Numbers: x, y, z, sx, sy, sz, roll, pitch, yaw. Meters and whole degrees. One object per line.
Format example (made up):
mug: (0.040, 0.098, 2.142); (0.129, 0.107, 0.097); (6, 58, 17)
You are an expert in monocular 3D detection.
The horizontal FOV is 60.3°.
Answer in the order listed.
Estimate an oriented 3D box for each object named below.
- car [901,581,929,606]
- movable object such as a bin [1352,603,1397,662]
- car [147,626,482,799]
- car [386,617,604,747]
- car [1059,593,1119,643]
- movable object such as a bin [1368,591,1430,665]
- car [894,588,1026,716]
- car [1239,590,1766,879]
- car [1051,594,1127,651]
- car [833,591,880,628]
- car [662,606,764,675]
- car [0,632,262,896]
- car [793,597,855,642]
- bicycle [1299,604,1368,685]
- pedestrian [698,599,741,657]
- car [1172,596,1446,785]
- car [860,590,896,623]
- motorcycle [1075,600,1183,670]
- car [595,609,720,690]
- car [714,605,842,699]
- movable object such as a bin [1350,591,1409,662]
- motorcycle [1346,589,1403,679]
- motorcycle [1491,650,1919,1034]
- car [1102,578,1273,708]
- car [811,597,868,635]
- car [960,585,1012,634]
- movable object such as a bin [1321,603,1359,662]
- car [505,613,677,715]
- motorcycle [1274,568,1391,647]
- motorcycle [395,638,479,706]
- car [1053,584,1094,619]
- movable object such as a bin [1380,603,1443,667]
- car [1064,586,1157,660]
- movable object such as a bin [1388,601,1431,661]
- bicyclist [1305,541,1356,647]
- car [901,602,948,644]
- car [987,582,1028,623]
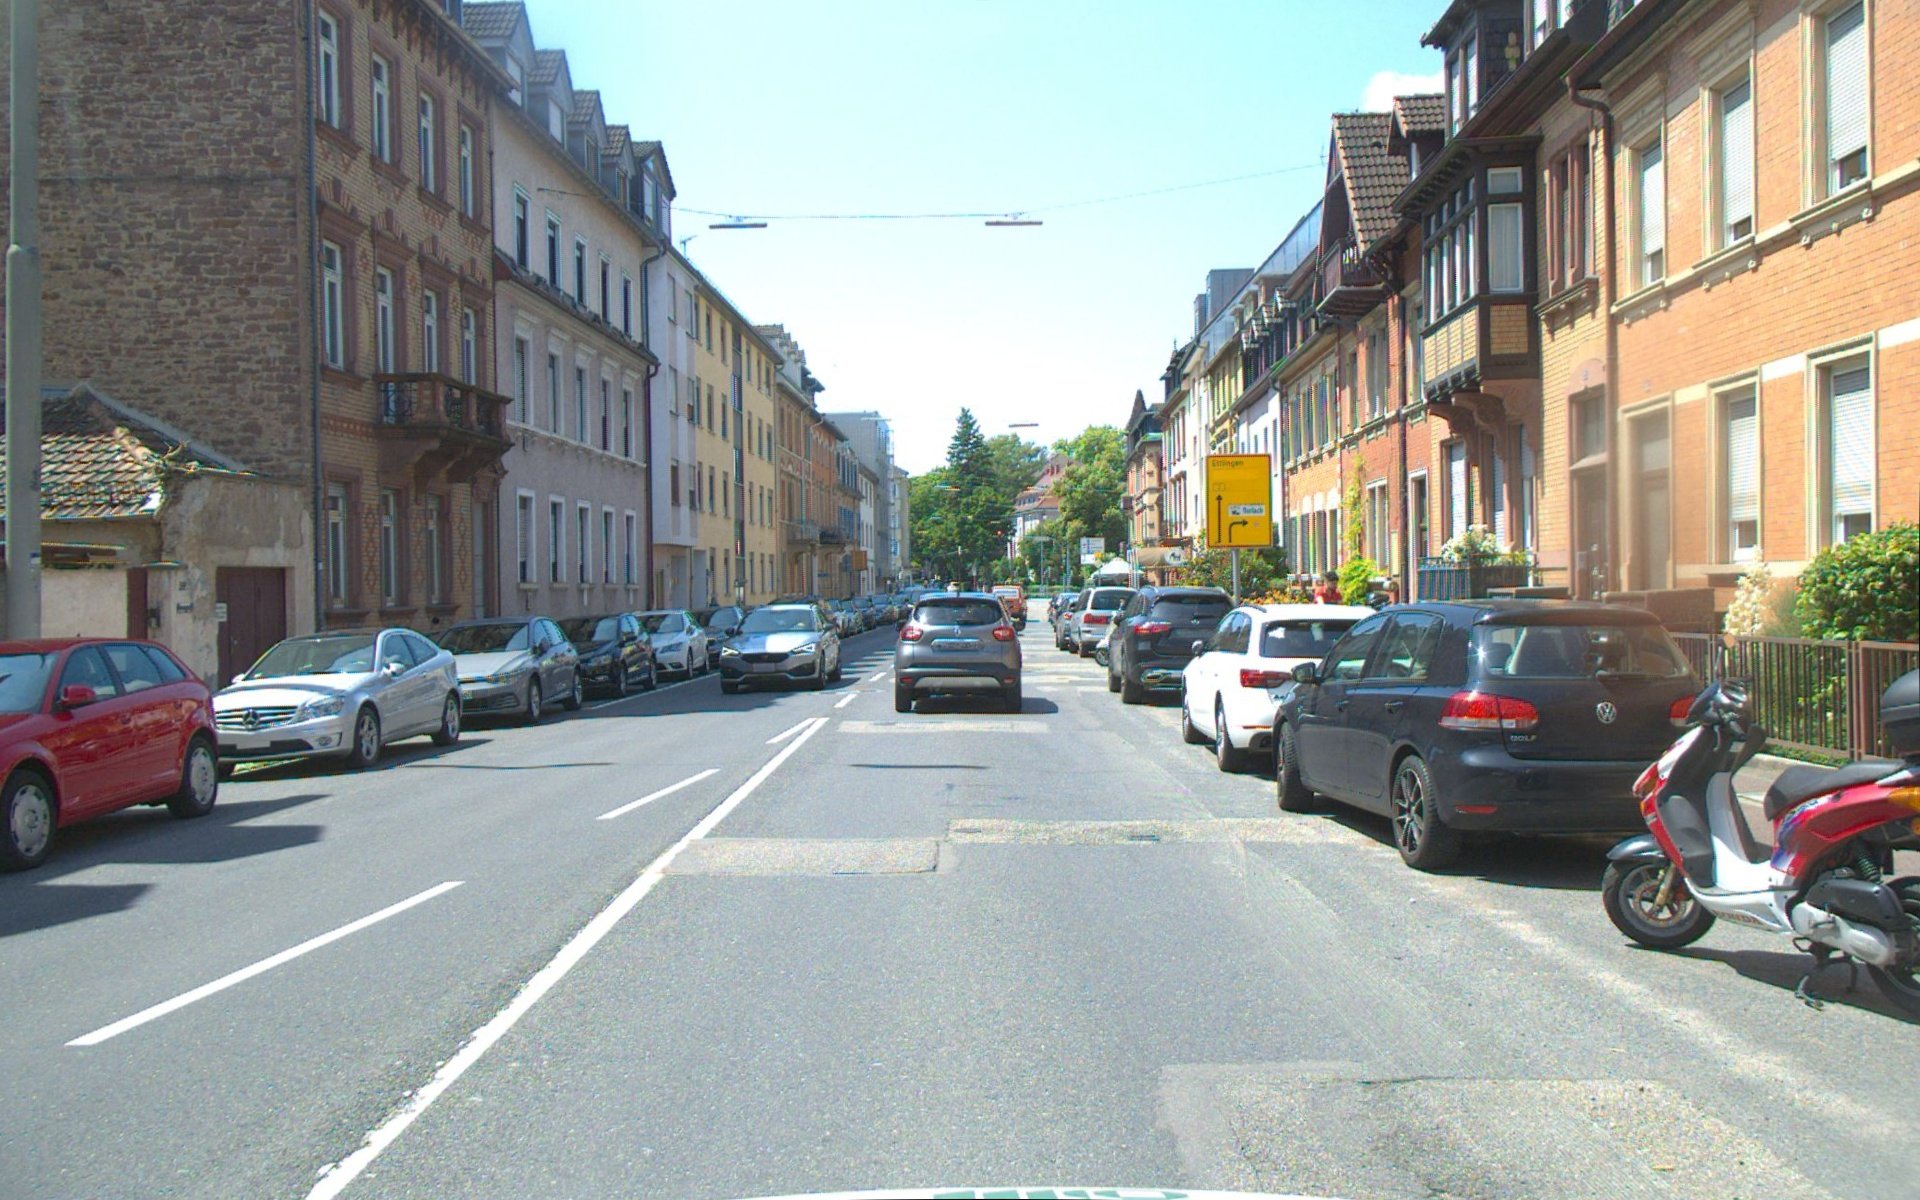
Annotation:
car: (-3.579, -0.557, 132.002); (1.865, 1.853, 4.304); (-2, 0, 3)
movable object such as a bin: (7.851, 0.610, 31.346); (0.645, 1.073, 0.749); (-2, 0, 2)
car: (-6.835, 1.109, 18.104); (1.802, 1.447, 4.502); (-4, 0, 0)
car: (-6.589, 1.102, 23.970); (1.803, 1.446, 4.501); (-7, 0, -1)
car: (4.148, 0.556, 53.802); (1.660, 1.513, 4.619); (0, 1, 1)
movable object such as a bin: (6.843, 0.438, 25.820); (0.772, 1.107, 0.539); (-3, 0, -2)
car: (0.052, 0.670, 23.532); (1.708, 1.644, 4.001); (0, 0, 1)
car: (3.196, 0.689, 10.795); (1.616, 1.439, 4.497); (-1, 0, -5)
car: (3.678, 0.609, 47.829); (1.822, 1.513, 4.309); (0, 1, 0)
car: (-5.000, 0.438, 80.247); (1.866, 1.647, 4.303); (-4, 0, 1)
car: (-6.055, 0.954, 41.027); (1.803, 1.447, 4.645); (-4, 0, -1)
car: (-6.653, 1.083, 11.446); (1.803, 1.447, 4.500); (-5, 1, -3)
car: (-5.281, 0.726, 64.654); (1.866, 1.536, 4.303); (-4, 0, 1)
bicycle: (5.402, 0.617, 24.007); (0.581, 1.084, 1.883); (-3, 0, 1)
pedestrian: (-7.740, 0.896, 53.251); (1.127, 1.780, 0.970); (-2, 0, 3)
car: (3.145, 0.733, 15.803); (1.681, 1.439, 4.590); (-3, 0, 1)
car: (-4.521, 0.321, 91.709); (1.867, 1.647, 4.300); (-4, 0, -2)
motorcycle: (3.560, 0.731, 34.859); (1.958, 1.410, 1.107); (-1, 0, 40)
car: (-6.329, 0.998, 35.095); (1.803, 1.447, 4.501); (-4, 0, -1)
car: (-3.157, 0.857, 29.386); (1.754, 1.445, 4.314); (-2, 0, 0)
movable object such as a bin: (6.840, 0.422, 27.011); (0.772, 1.107, 0.553); (-3, 0, -2)
motorcycle: (6.113, 0.480, 24.441); (0.431, 1.259, 1.358); (-3, 1, 0)
motorcycle: (3.218, 0.851, 6.388); (1.959, 1.246, 1.107); (0, 0, 39)
car: (3.307, 0.574, 24.946); (1.952, 1.691, 4.626); (-3, 0, 1)
car: (-5.117, 0.650, 70.851); (1.866, 1.425, 4.756); (-4, 0, 1)
car: (0.963, 0.337, 62.577); (1.775, 1.649, 4.441); (-3, 0, 0)
movable object such as a bin: (7.210, 0.609, 31.381); (0.545, 1.094, 0.727); (-2, 0, 2)
car: (-6.489, 1.071, 29.582); (1.802, 1.447, 4.503); (-6, 0, 2)
motorcycle: (7.531, 0.141, 33.512); (2.086, 1.433, 0.937); (-4, 0, 0)
motorcycle: (-8.982, 1.220, 28.484); (0.698, 1.071, 1.937); (-2, 0, 4)
car: (5.289, 0.065, 77.353); (1.821, 1.580, 4.002); (0, 1, 3)
movable object such as a bin: (6.878, 0.523, 25.201); (0.772, 0.923, 0.539); (-3, 0, -2)
car: (3.806, 0.530, 42.532); (1.823, 1.778, 4.617); (0, 1, -2)
movable object such as a bin: (8.514, 0.583, 31.338); (0.596, 1.095, 0.761); (-2, 0, 2)
bicyclist: (5.377, -0.091, 24.047); (0.521, 1.495, 0.791); (-2, 0, 2)
car: (-1.680, 1.069, 79.658); (1.952, 1.823, 5.149); (-3, 0, 1)
car: (2.621, 0.110, 91.110); (1.952, 2.048, 4.469); (-3, 1, 4)
